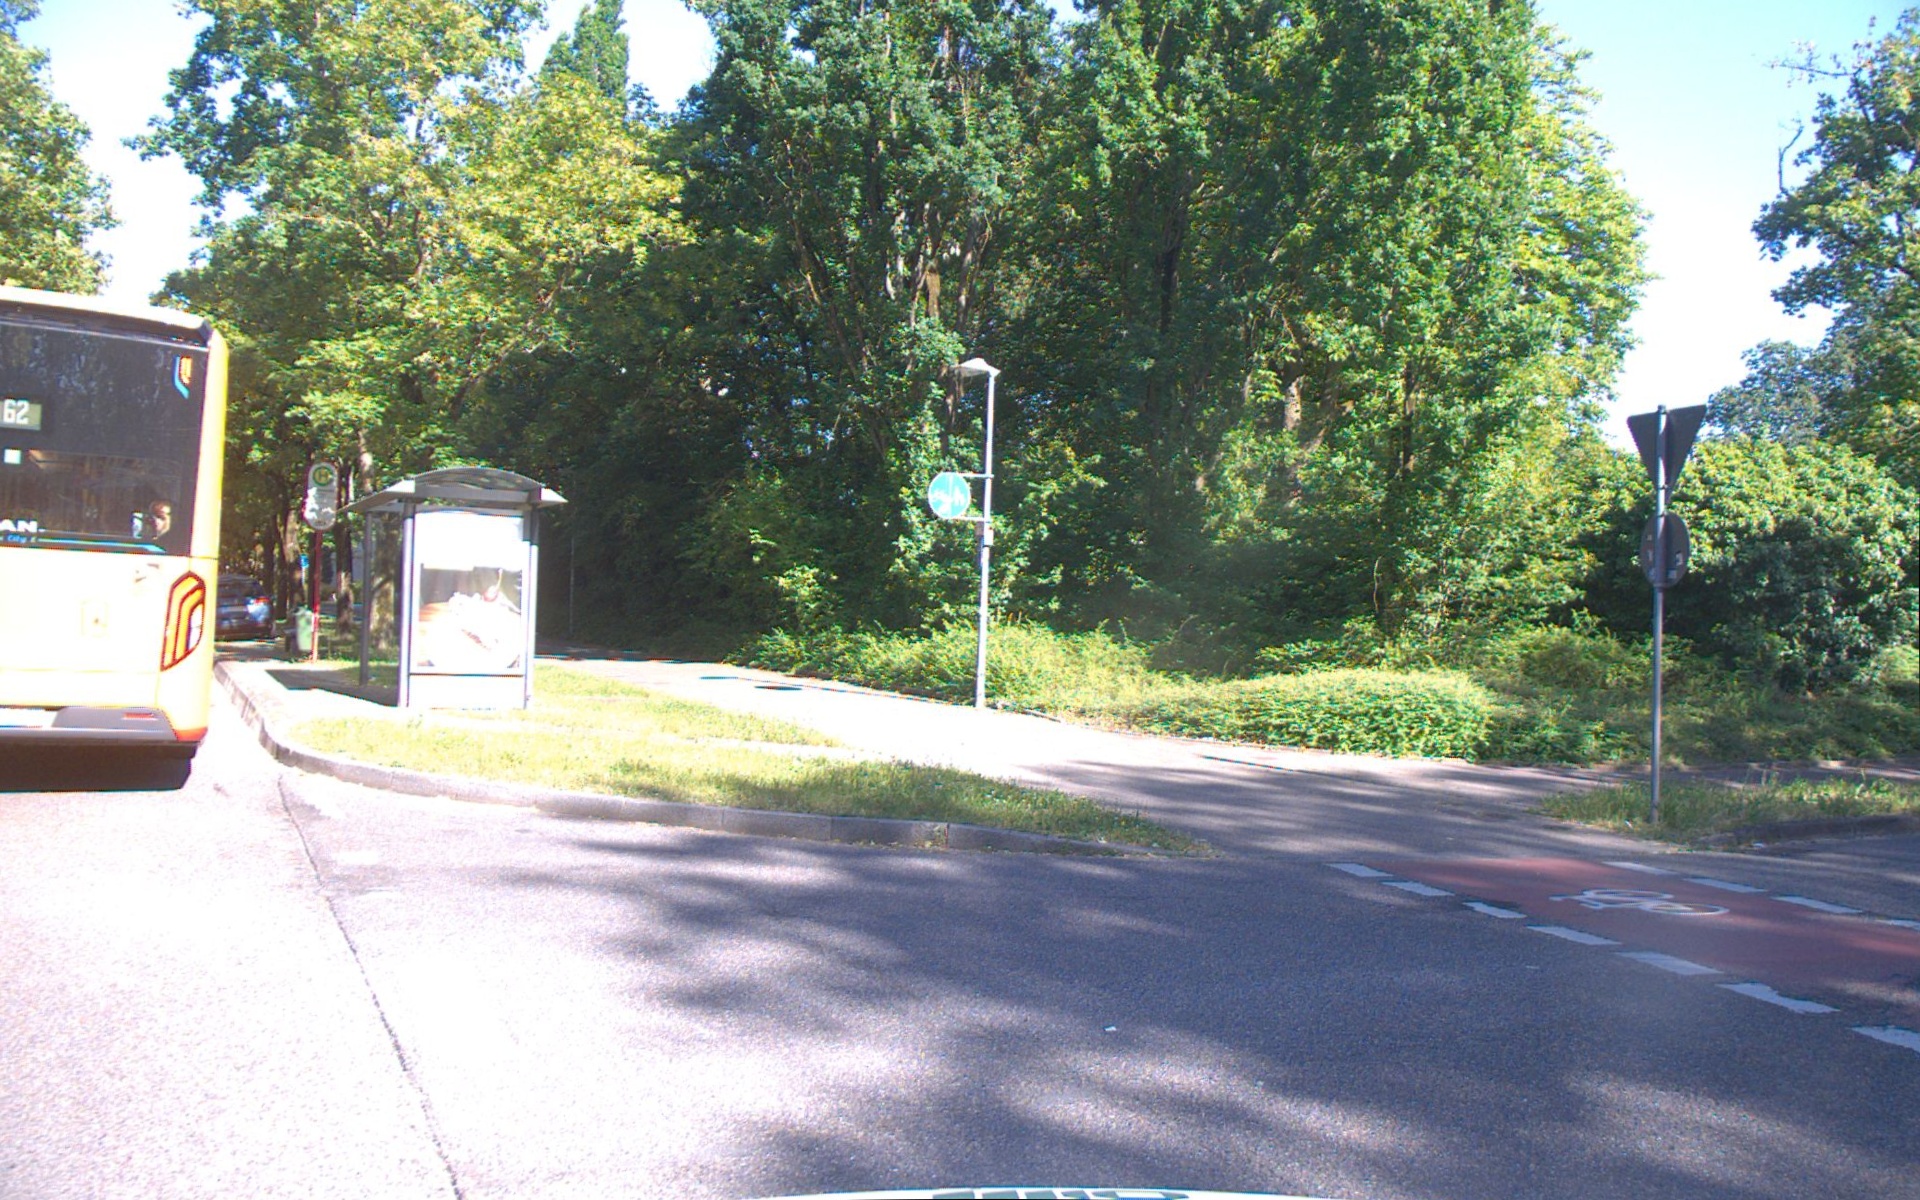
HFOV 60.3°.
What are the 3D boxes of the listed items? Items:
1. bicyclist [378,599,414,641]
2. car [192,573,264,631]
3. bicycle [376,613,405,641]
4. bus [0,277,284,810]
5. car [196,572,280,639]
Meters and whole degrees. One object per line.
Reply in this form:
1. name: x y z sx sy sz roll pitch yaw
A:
1. bicyclist: -23.594 0.834 69.159 1.168 1.690 1.018 2 0 -33
2. car: -20.766 0.028 46.868 1.771 1.537 3.968 2 0 -25
3. bicycle: -23.771 1.124 69.040 0.749 1.127 1.780 2 0 -32
4. bus: -8.349 -0.411 15.896 2.862 3.324 12.122 2 0 -25
5. car: -17.786 0.120 40.668 1.771 1.537 3.968 2 0 -25
